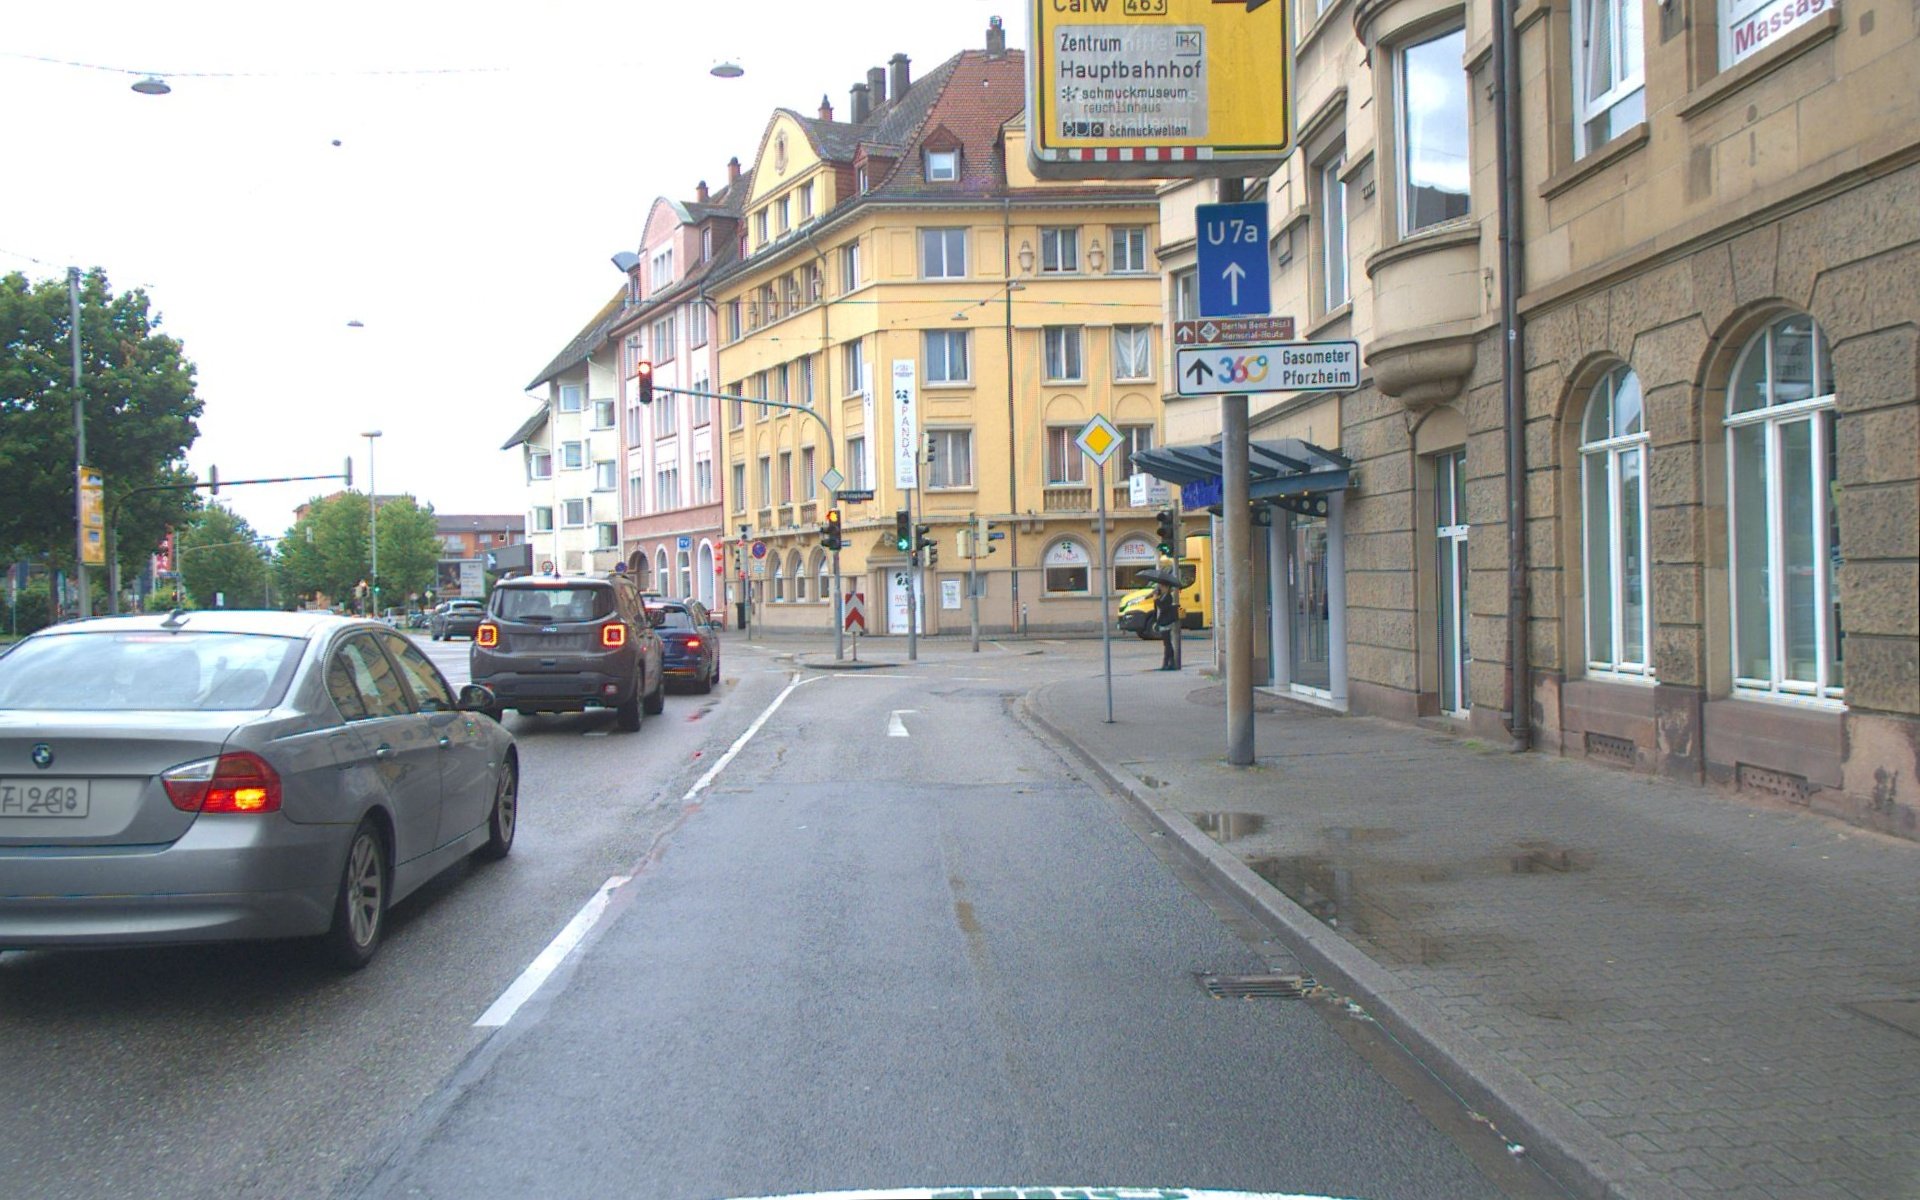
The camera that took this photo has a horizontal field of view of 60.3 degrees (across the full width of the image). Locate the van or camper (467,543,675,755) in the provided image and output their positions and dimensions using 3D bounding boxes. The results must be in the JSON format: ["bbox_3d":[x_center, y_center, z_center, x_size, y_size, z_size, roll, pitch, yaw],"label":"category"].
[{"bbox_3d":[-4.376,0.493,19.184,1.819,2.184,4.137,0,0,-6],"label":"van or camper"}]

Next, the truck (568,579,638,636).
[{"bbox_3d":[-15.780,0.315,72.985,2.003,2.431,4.198,0,1,-28],"label":"truck"}]

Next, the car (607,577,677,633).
[{"bbox_3d":[-13.106,0.200,68.031,1.742,2.218,3.963,1,0,-28],"label":"car"}]

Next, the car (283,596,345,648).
[{"bbox_3d":[-22.261,0.725,56.957,1.820,1.713,3.970,0,0,-24],"label":"car"}]

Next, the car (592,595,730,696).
[{"bbox_3d":[-4.599,0.660,25.969,1.768,1.430,4.678,-1,0,-6],"label":"car"}]

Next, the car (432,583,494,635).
[{"bbox_3d":[-20.587,0.374,68.393,1.967,2.049,3.970,-1,0,-24],"label":"car"}]

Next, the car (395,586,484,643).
[{"bbox_3d":[-18.156,0.492,57.571,1.975,1.847,3.954,-1,0,-33],"label":"car"}]

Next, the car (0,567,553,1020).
[{"bbox_3d":[-3.203,0.634,7.681,1.764,1.489,4.367,2,0,-4],"label":"car"}]

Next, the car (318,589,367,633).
[{"bbox_3d":[-30.099,0.524,80.553,1.968,2.049,3.969,-1,0,-24],"label":"car"}]

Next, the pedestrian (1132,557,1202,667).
[{"bbox_3d":[3.750,0.206,29.917,1.035,1.937,1.025,-1,0,19],"label":"pedestrian"}]

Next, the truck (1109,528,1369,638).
[{"bbox_3d":[7.839,-0.485,46.927,6.950,2.901,2.081,-1,0,-4],"label":"truck"}]

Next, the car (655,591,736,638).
[{"bbox_3d":[-9.911,0.543,61.798,1.856,1.665,3.965,-1,0,-27],"label":"car"}]

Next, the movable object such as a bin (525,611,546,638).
[{"bbox_3d":[-20.923,1.197,81.501,0.739,1.253,0.975,4,-2,-27],"label":"movable object such as a bin"}]

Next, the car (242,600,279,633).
[{"bbox_3d":[-41.485,0.966,98.084,1.863,1.847,3.968,-2,0,-25],"label":"car"}]
